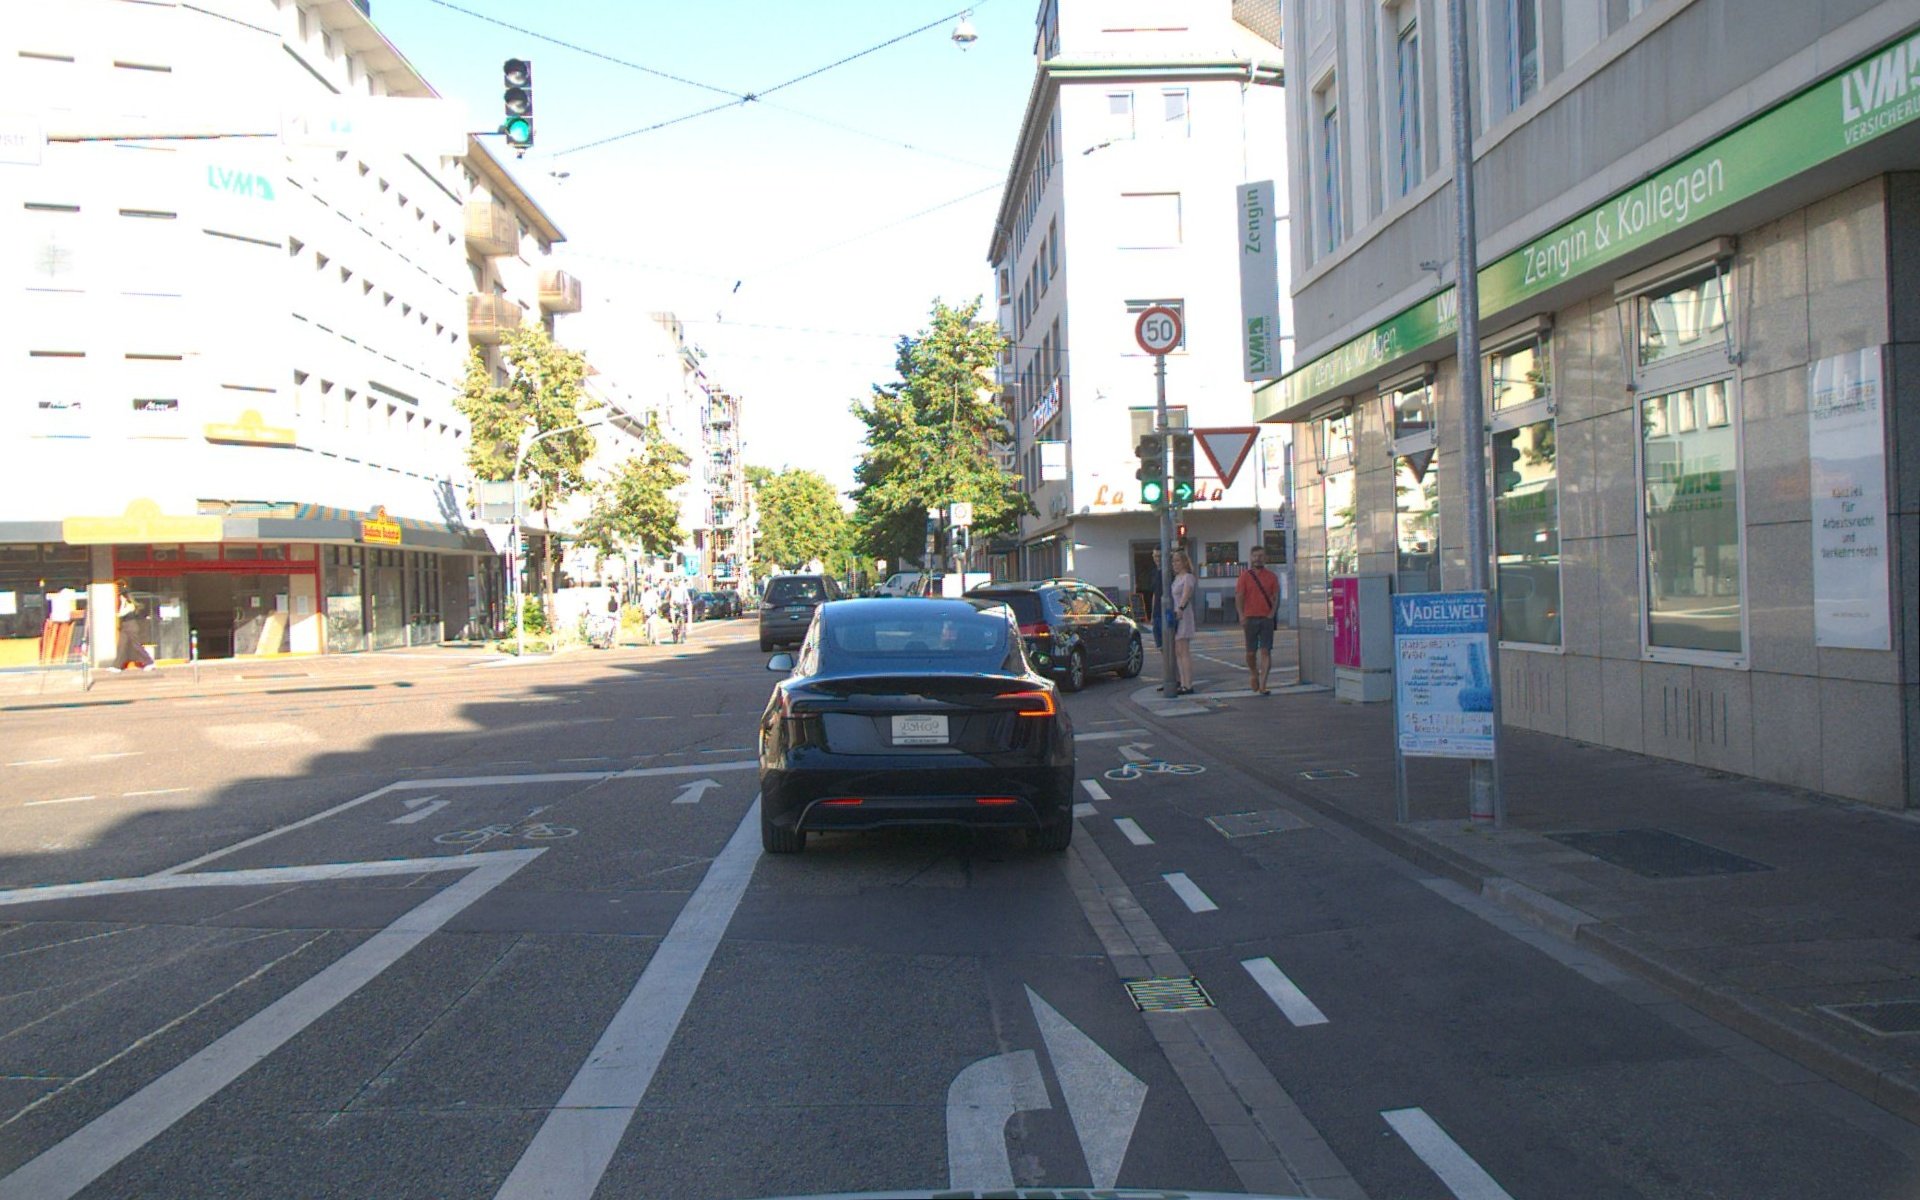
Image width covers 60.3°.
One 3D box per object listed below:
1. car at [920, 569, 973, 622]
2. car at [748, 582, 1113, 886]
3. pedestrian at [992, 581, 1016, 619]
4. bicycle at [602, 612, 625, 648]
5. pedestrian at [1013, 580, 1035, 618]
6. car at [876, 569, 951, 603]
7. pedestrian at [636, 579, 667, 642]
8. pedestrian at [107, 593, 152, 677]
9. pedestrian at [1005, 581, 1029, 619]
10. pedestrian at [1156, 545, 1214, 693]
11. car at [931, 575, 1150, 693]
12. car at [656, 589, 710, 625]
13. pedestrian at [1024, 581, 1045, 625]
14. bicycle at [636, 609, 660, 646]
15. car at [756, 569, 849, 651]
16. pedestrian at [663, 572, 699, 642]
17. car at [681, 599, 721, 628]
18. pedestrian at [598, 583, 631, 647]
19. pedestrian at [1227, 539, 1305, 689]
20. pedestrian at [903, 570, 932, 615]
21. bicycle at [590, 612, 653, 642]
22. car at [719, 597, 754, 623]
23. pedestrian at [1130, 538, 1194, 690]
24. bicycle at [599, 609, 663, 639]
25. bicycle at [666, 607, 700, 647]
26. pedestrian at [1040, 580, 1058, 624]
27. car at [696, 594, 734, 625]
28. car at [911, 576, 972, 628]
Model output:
[{"bbox_3d":[-0.554,-0.184,63.734,1.866,1.884,4.286,-2,1,-2],"label":"car"},{"bbox_3d":[-0.199,0.669,10.731,1.832,1.452,4.363,-2,1,-1],"label":"car"},{"bbox_3d":[1.658,-0.010,62.335,0.695,1.371,1.058,-3,0,-6],"label":"pedestrian"},{"bbox_3d":[-9.655,0.826,46.027,0.472,0.972,1.449,-3,0,-16],"label":"bicycle"},{"bbox_3d":[2.418,-0.049,62.530,0.716,1.384,0.958,-3,0,-3],"label":"pedestrian"},{"bbox_3d":[-3.376,-0.995,118.938,5.285,2.183,1.999,-3,0,-4],"label":"car"},{"bbox_3d":[-8.763,0.284,46.958,0.766,1.758,0.557,-2,0,-17],"label":"pedestrian"},{"bbox_3d":[-17.519,0.732,34.902,0.548,1.739,0.711,-3,0,-5],"label":"pedestrian"},{"bbox_3d":[2.097,-0.015,61.245,0.716,1.371,1.059,-3,0,-5],"label":"pedestrian"},{"bbox_3d":[2.781,0.232,20.468,0.561,1.790,0.649,-1,0,-3],"label":"pedestrian"},{"bbox_3d":[1.218,0.405,22.781,1.725,1.443,4.355,-2,0,21],"label":"car"},{"bbox_3d":[-13.354,0.331,79.914,1.953,1.626,3.999,-1,0,-1],"label":"car"},{"bbox_3d":[2.325,0.087,51.753,0.574,1.335,0.560,-3,0,-2],"label":"pedestrian"},{"bbox_3d":[-8.832,0.771,46.781,0.543,0.985,1.788,-3,0,-14],"label":"bicycle"},{"bbox_3d":[-3.650,0.196,38.992,1.866,1.763,4.286,-2,1,-2],"label":"car"},{"bbox_3d":[-7.906,0.202,46.862,0.766,1.898,0.997,-5,1,-17],"label":"pedestrian"},{"bbox_3d":[-13.688,0.680,87.611,1.751,1.427,3.903,-2,0,-4],"label":"car"},{"bbox_3d":[-9.551,0.404,45.705,0.778,1.742,0.651,-2,0,-17],"label":"pedestrian"},{"bbox_3d":[3.676,0.160,19.941,0.676,1.732,0.912,-3,0,-1],"label":"pedestrian"},{"bbox_3d":[-1.892,-0.340,73.718,0.937,1.949,1.106,-3,0,14],"label":"pedestrian"},{"bbox_3d":[-12.326,0.970,60.163,2.183,0.975,0.653,-3,0,-15],"label":"bicycle"},{"bbox_3d":[-13.194,0.573,97.595,1.751,1.427,3.903,-2,0,-4],"label":"car"},{"bbox_3d":[2.560,0.172,21.002,0.627,1.874,0.681,-2,0,-3],"label":"pedestrian"},{"bbox_3d":[-12.542,0.925,63.039,2.356,1.023,0.653,-3,0,-14],"label":"bicycle"},{"bbox_3d":[-7.845,0.754,46.830,0.746,1.025,1.719,-5,1,-14],"label":"bicycle"},{"bbox_3d":[2.835,0.057,52.556,0.477,1.345,0.654,-3,0,5],"label":"pedestrian"},{"bbox_3d":[-13.732,0.507,92.717,1.684,1.638,3.595,-3,1,-3],"label":"car"},{"bbox_3d":[-0.685,0.054,57.203,1.961,1.665,4.286,-2,1,-2],"label":"car"}]
